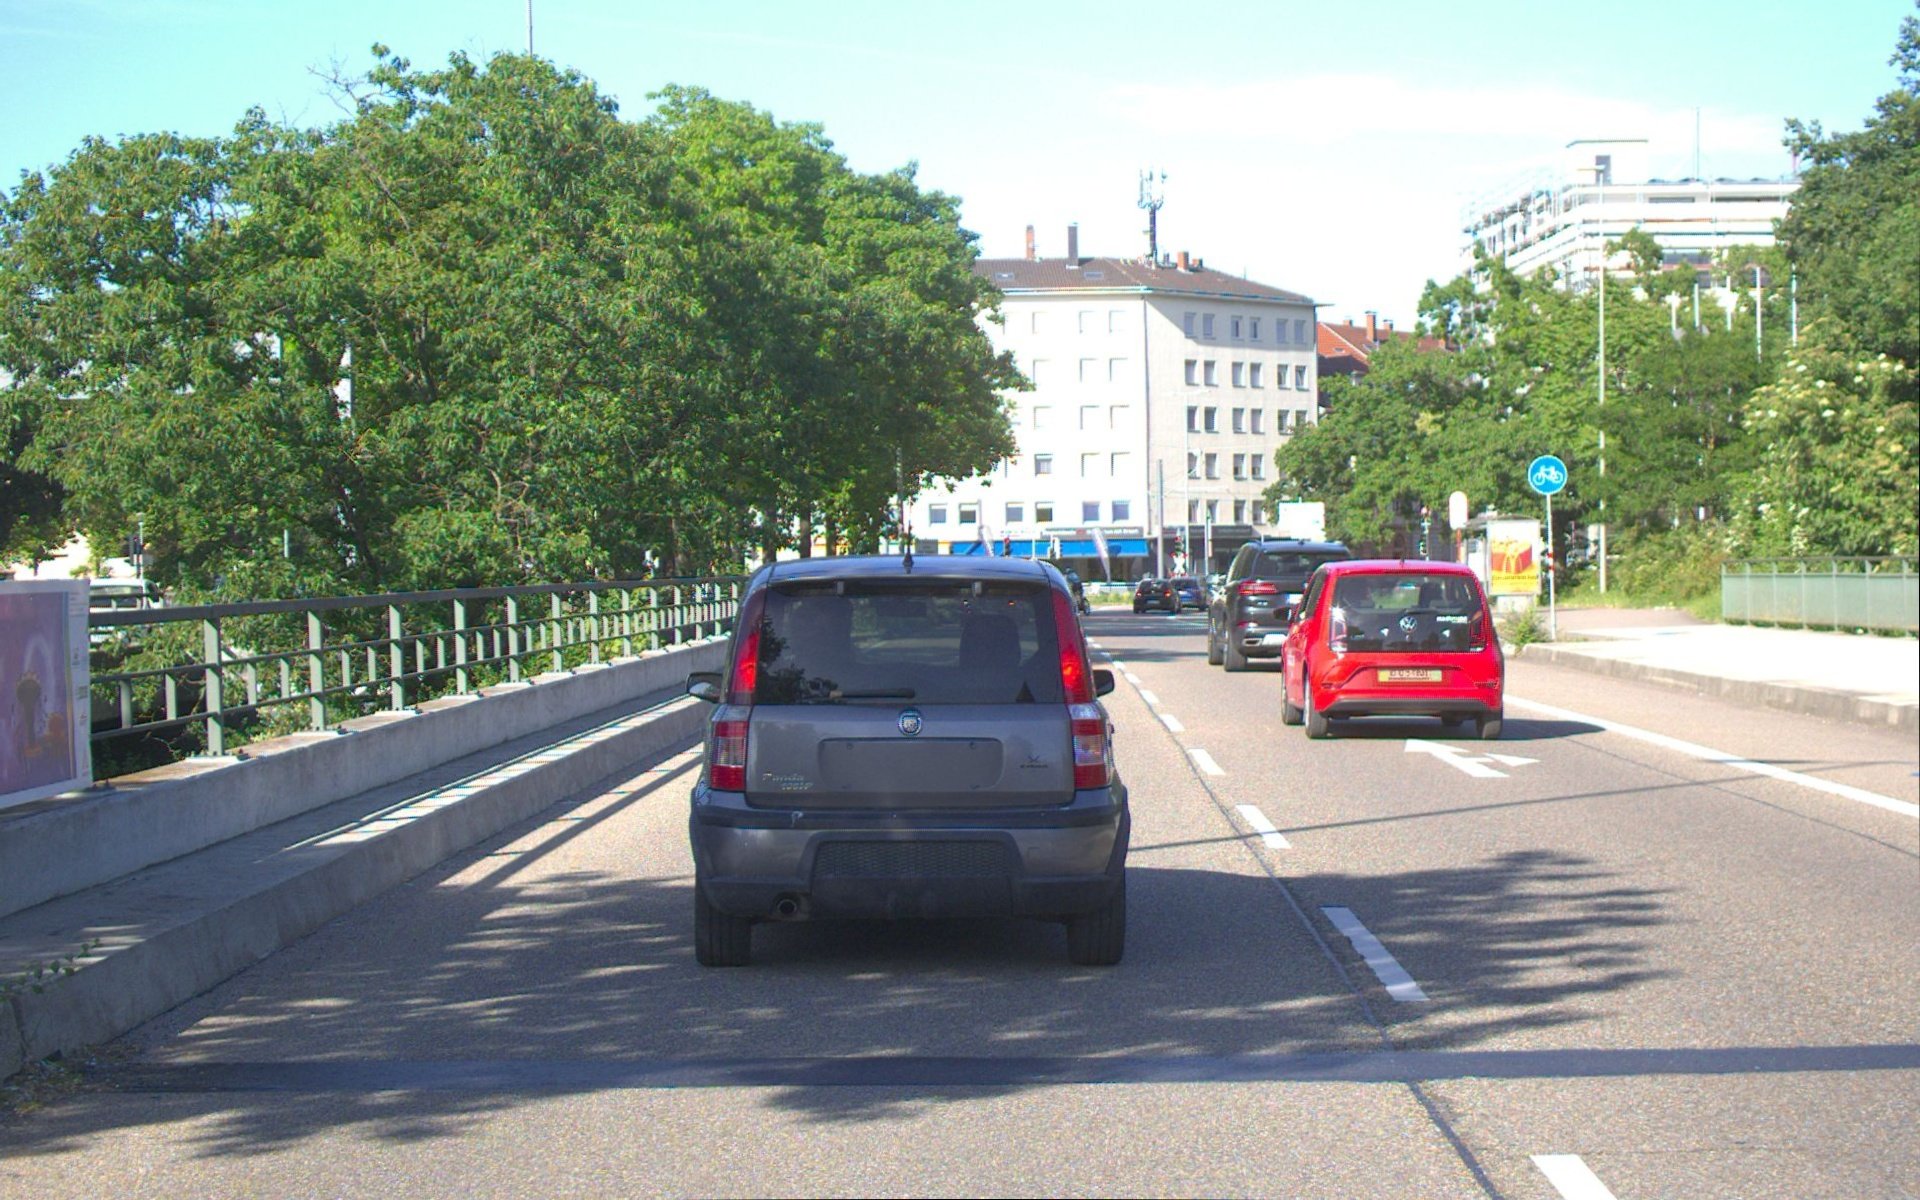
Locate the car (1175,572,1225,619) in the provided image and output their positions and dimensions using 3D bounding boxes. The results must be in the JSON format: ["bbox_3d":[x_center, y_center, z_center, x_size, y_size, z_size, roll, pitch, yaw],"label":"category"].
[{"bbox_3d":[10.252,-0.196,146.619,1.945,1.834,4.152,-4,0,5],"label":"car"}]

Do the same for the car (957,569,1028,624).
[{"bbox_3d":[0.964,-0.118,99.005,1.945,1.523,4.097,-1,1,2],"label":"car"}]

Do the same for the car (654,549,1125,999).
[{"bbox_3d":[-0.234,0.580,13.884,1.617,1.510,3.820,1,1,0],"label":"car"}]

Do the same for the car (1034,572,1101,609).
[{"bbox_3d":[4.739,-0.416,150.770,1.947,1.523,4.094,0,1,16],"label":"car"}]

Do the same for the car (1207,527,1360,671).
[{"bbox_3d":[4.347,-0.015,46.558,1.945,1.834,4.152,1,0,5],"label":"car"}]

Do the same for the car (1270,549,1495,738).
[{"bbox_3d":[3.557,0.322,29.460,1.617,1.458,3.751,1,1,3],"label":"car"}]

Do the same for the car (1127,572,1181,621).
[{"bbox_3d":[7.915,-0.133,139.992,1.945,1.834,4.152,-4,0,5],"label":"car"}]

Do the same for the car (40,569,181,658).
[{"bbox_3d":[-15.216,0.220,61.779,1.743,1.495,4.000,-1,1,-4],"label":"car"}]

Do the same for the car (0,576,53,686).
[{"bbox_3d":[-14.277,0.439,49.209,1.743,1.495,4.000,-1,1,-4],"label":"car"}]

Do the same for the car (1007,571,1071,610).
[{"bbox_3d":[3.227,-0.404,140.274,1.946,1.523,4.095,0,1,11],"label":"car"}]
